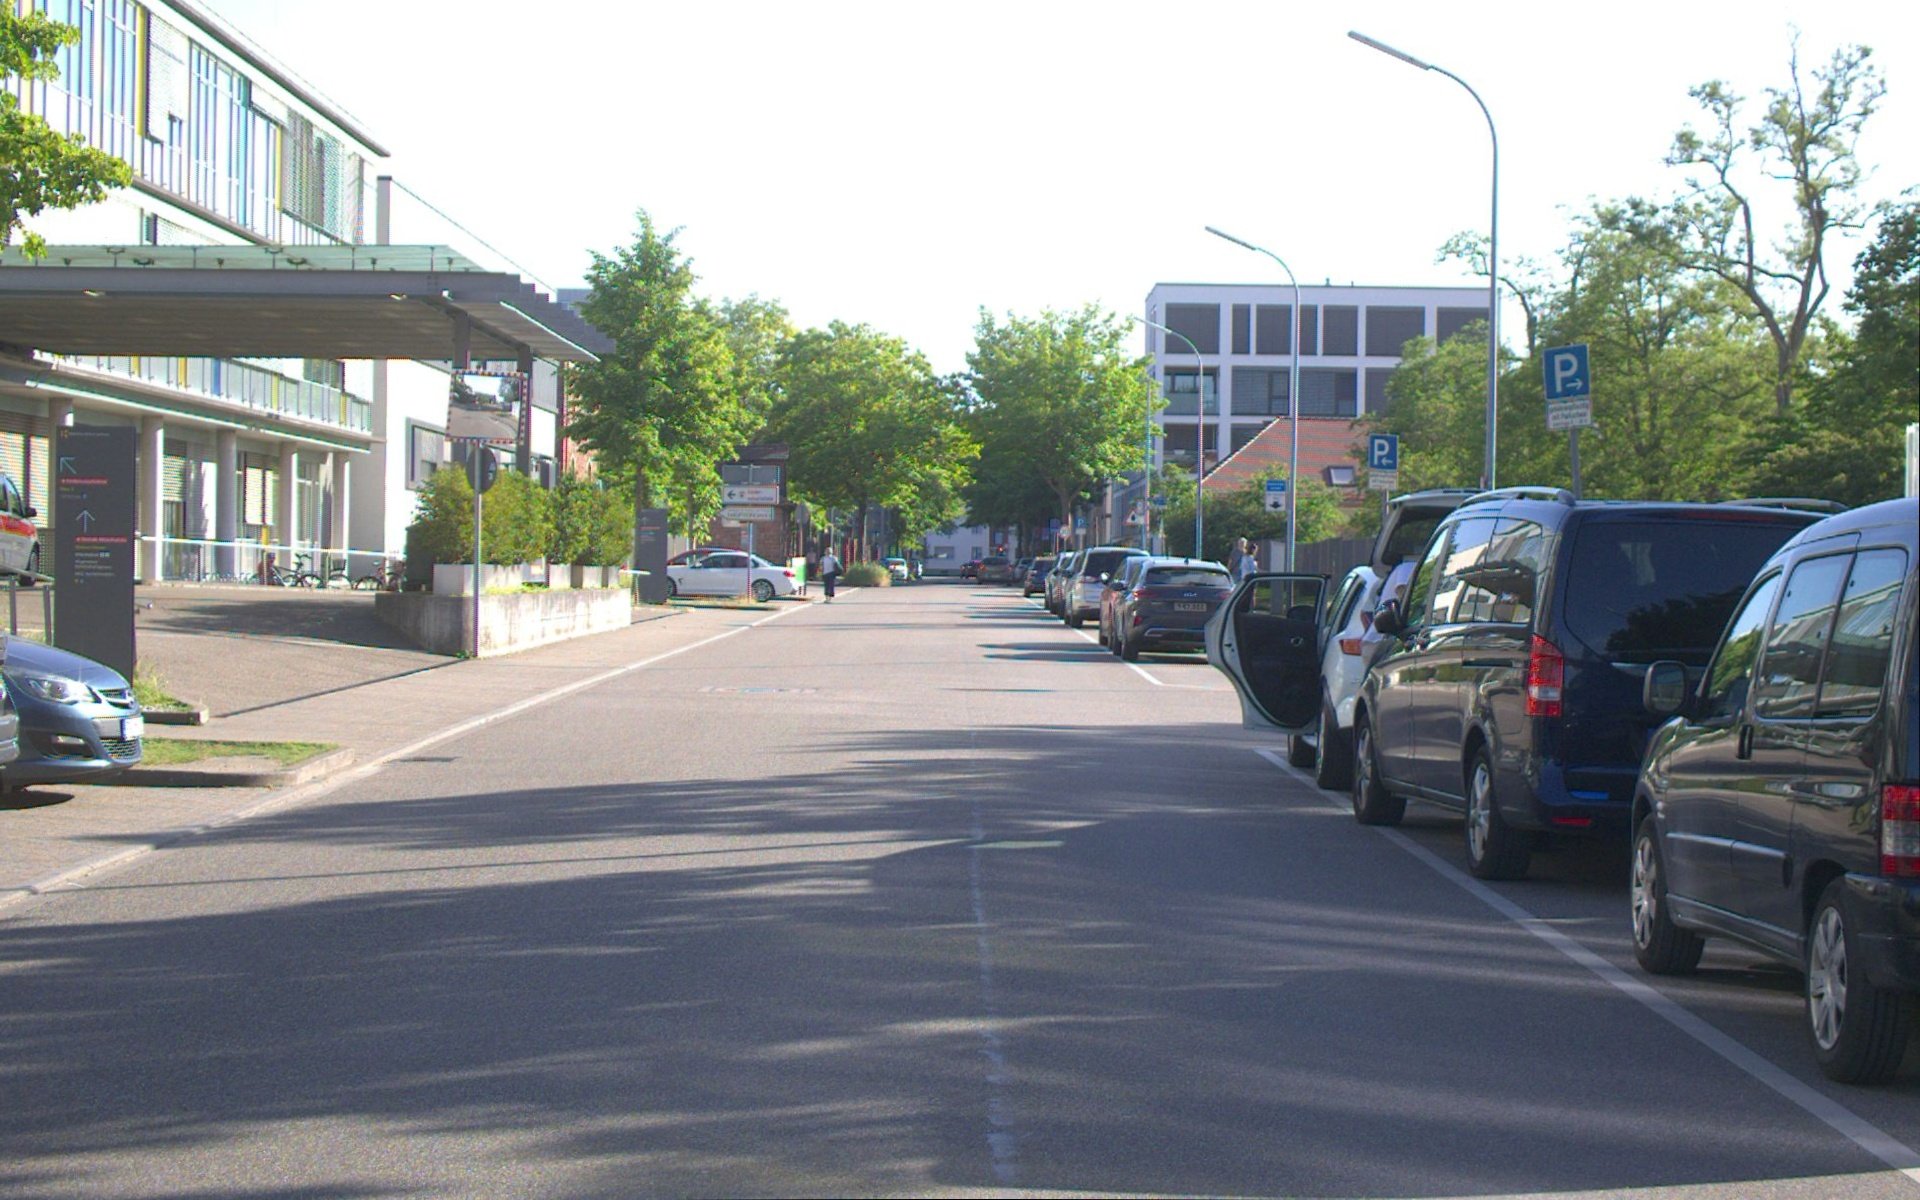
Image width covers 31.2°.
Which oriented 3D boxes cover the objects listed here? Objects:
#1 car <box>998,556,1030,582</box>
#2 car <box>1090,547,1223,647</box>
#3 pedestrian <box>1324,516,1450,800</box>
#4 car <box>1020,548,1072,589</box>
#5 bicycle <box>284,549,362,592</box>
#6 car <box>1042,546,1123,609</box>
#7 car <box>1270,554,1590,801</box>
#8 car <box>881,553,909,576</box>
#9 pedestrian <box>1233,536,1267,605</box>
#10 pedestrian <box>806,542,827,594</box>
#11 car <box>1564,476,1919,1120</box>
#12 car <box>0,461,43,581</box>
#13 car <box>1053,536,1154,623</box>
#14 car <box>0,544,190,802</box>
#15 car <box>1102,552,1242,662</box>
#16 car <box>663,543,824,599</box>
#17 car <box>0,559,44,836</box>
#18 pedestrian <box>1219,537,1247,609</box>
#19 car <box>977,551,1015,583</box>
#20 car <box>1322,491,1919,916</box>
[{"bbox_3d":[3.395,-1.958,214.632,1.950,1.573,3.836,1,1,1],"label":"car"},{"bbox_3d":[3.219,-0.080,57.122,1.809,1.505,4.722,2,1,-1],"label":"car"},{"bbox_3d":[2.706,0.360,21.749,0.589,1.740,0.704,3,1,18],"label":"pedestrian"},{"bbox_3d":[3.082,-1.151,124.140,1.818,1.448,4.214,1,1,1],"label":"car"},{"bbox_3d":[-14.890,-0.698,80.395,1.715,0.990,0.536,1,1,-1],"label":"bicycle"},{"bbox_3d":[3.146,-0.598,88.640,1.700,1.482,3.981,2,1,-3],"label":"car"},{"bbox_3d":[3.211,0.471,24.197,1.664,1.508,4.114,2,1,1],"label":"car"},{"bbox_3d":[-4.257,-2.347,225.123,1.767,1.482,4.000,1,1,-1],"label":"car"},{"bbox_3d":[6.911,-0.701,81.941,0.681,1.606,0.541,3,0,-2],"label":"pedestrian"},{"bbox_3d":[-4.184,-0.937,100.211,0.538,1.518,0.607,1,1,1],"label":"pedestrian"},{"bbox_3d":[3.329,0.548,11.729,1.702,1.788,4.295,2,1,0],"label":"car"},{"bbox_3d":[-16.073,-1.252,54.338,1.919,1.884,4.711,1,1,0],"label":"car"},{"bbox_3d":[3.037,-0.463,73.570,1.809,1.716,4.705,2,1,-1],"label":"car"},{"bbox_3d":[-6.833,0.412,20.417,4.131,1.461,1.754,0,1,-1],"label":"car"},{"bbox_3d":[3.121,0.073,51.340,1.700,1.482,4.215,2,1,-1],"label":"car"},{"bbox_3d":[-6.253,-0.839,98.981,4.511,1.362,1.700,3,1,-5],"label":"car"},{"bbox_3d":[-6.983,0.462,17.870,3.986,1.433,1.731,1,1,-2],"label":"car"},{"bbox_3d":[6.554,-0.656,82.548,0.521,1.703,0.522,3,0,-2],"label":"pedestrian"},{"bbox_3d":[1.775,-1.643,171.203,1.767,1.543,4.066,1,1,-1],"label":"car"},{"bbox_3d":[3.280,0.426,18.147,1.864,1.863,5.023,2,1,-3],"label":"car"}]
